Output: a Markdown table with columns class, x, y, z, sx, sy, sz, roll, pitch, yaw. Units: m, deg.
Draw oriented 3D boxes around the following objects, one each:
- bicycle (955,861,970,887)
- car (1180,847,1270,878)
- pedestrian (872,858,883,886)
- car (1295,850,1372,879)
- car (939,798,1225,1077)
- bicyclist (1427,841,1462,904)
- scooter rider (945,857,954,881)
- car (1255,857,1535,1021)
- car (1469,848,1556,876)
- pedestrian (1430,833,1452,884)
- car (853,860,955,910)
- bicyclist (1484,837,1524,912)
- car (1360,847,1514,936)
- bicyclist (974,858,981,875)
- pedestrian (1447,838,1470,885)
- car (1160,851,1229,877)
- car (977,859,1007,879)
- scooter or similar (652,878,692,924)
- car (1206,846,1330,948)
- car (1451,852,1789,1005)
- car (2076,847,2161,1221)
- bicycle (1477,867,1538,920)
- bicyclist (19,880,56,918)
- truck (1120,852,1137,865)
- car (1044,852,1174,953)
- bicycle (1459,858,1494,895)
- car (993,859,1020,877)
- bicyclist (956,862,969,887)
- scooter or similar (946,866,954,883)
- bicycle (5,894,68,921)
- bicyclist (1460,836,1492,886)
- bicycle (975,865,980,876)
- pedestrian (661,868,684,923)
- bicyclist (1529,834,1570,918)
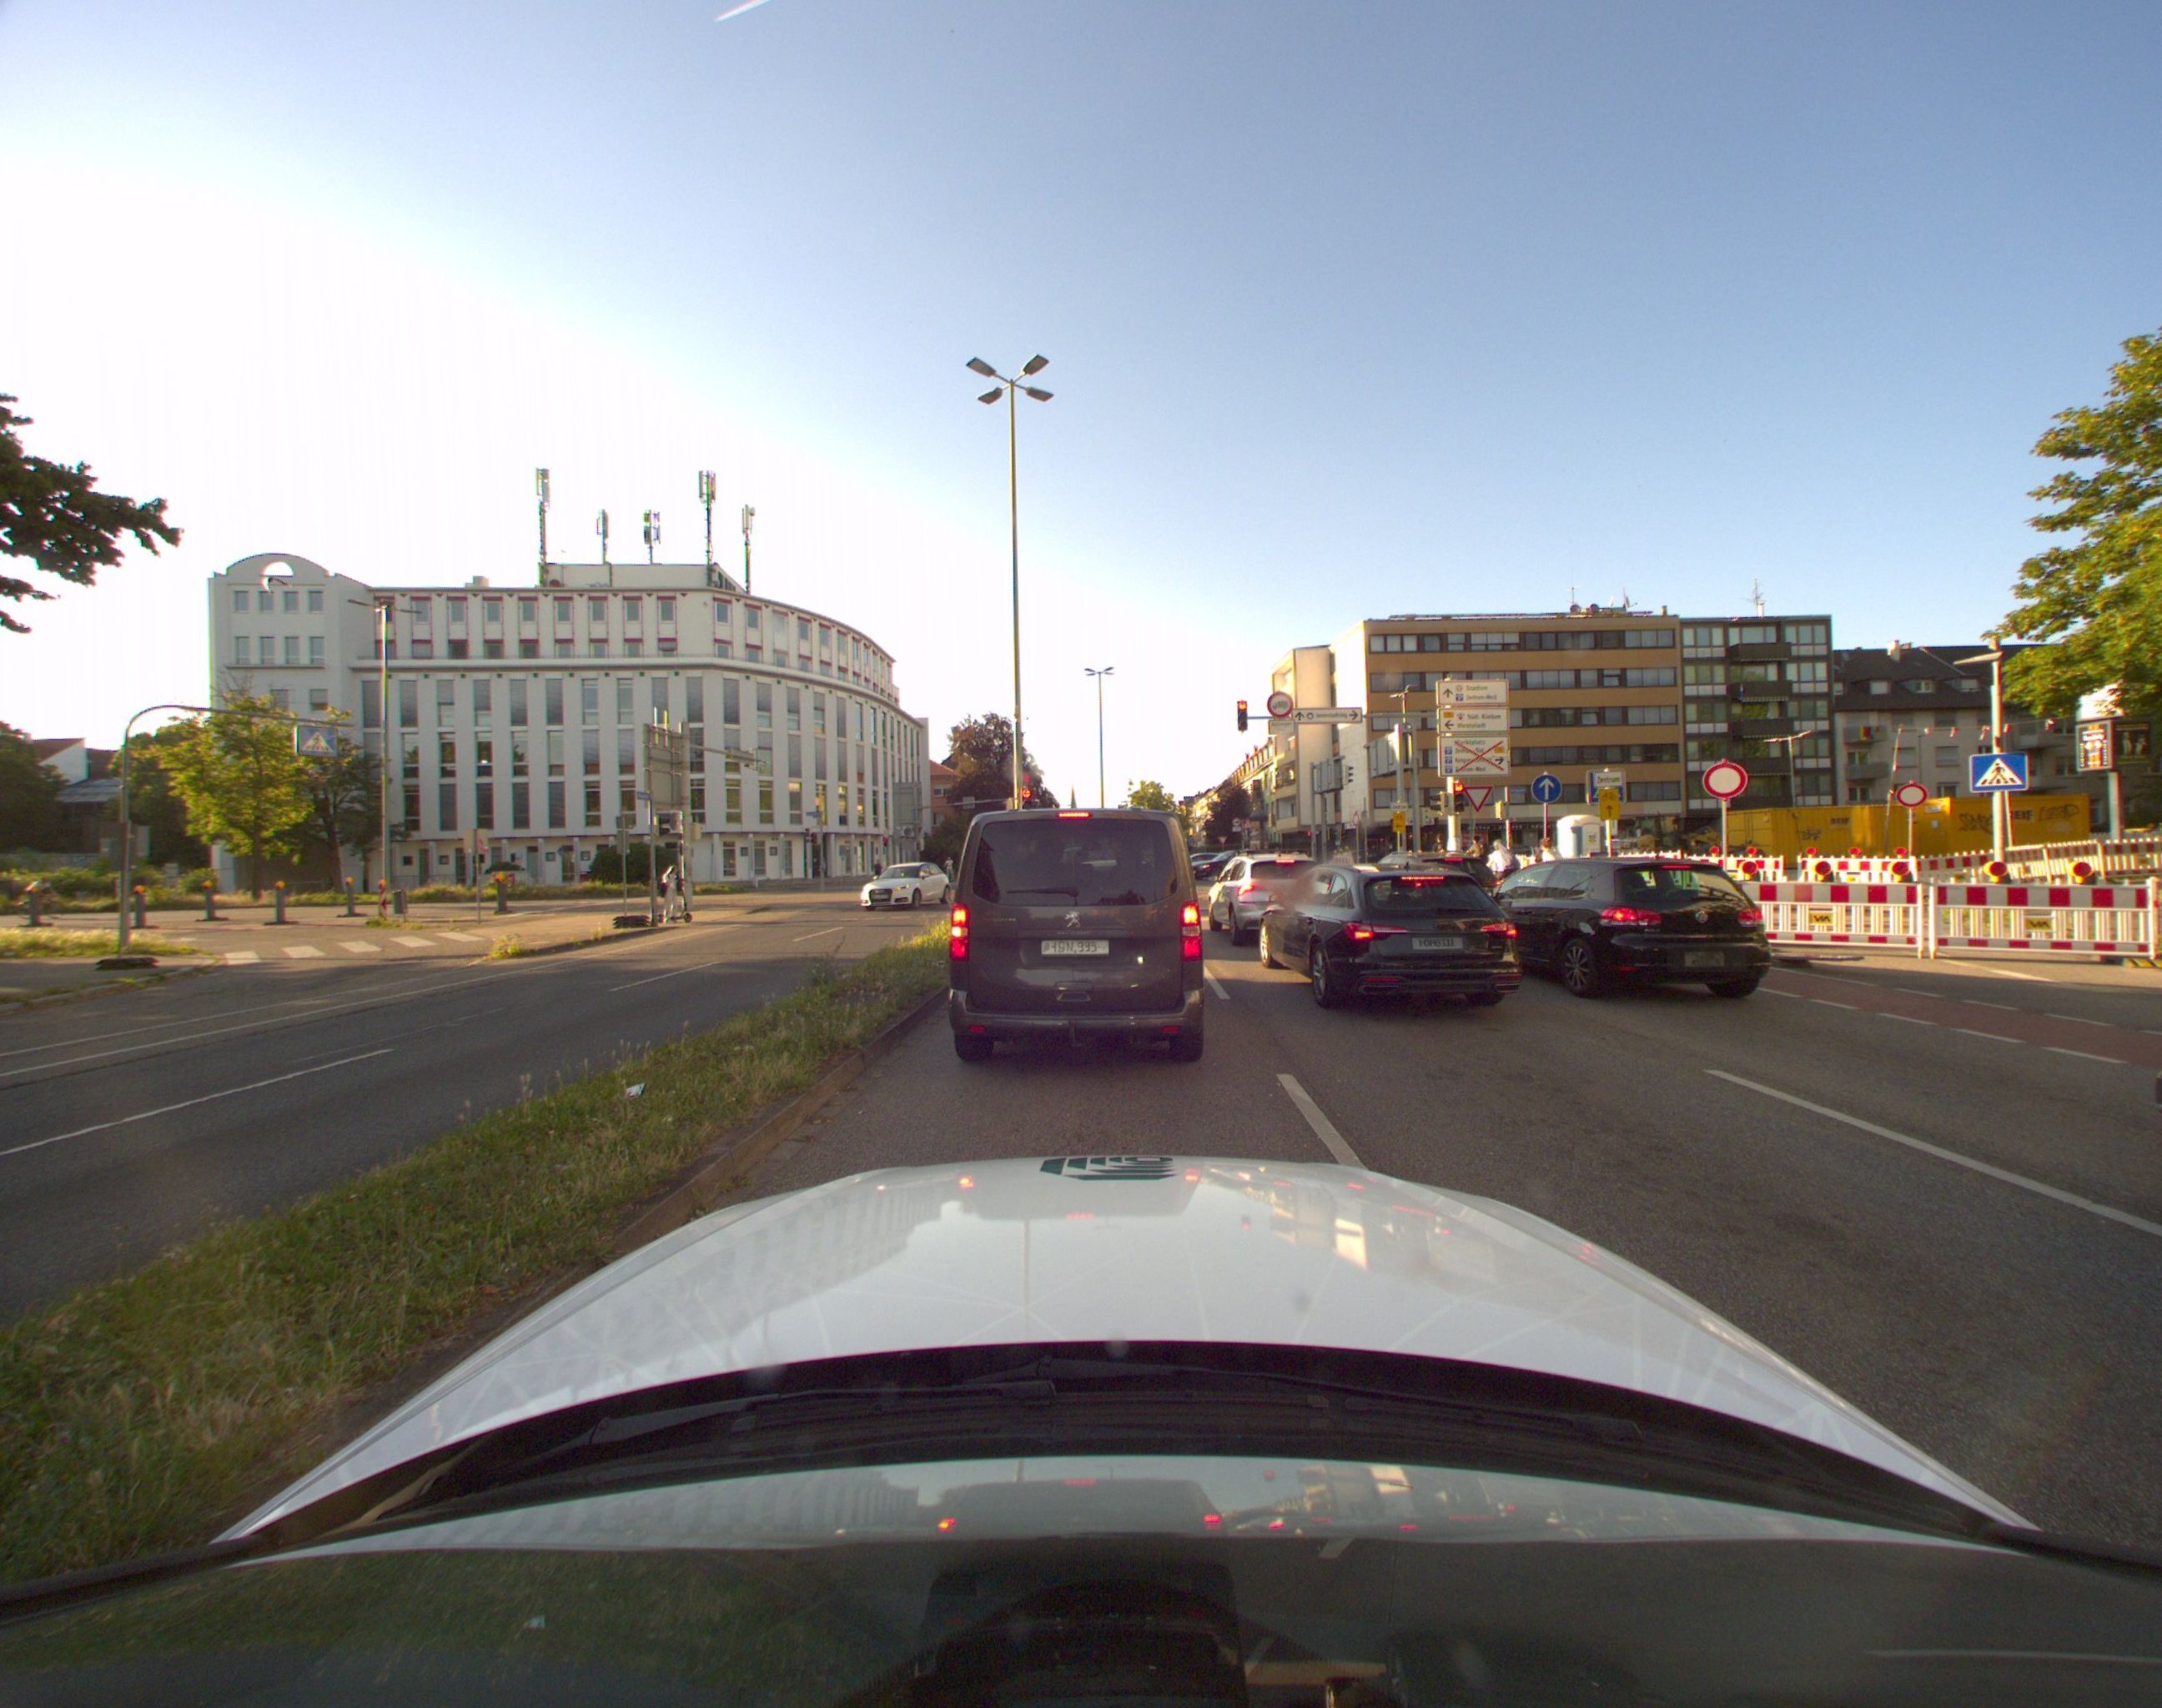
| class | x | y | z | sx | sy | sz | roll | pitch | yaw |
| --- | --- | --- | --- | --- | --- | --- | --- | --- | --- |
| bicycle | -9.648 | 1.630 | 66.503 | 0.712 | 2.013 | 2.564 | -2 | 0 | 2 |
| car | 7.395 | 0.422 | 41.909 | 4.241 | 1.441 | 1.692 | -2 | 0 | -19 |
| pedestrian | -12.818 | 1.154 | 51.369 | 0.626 | 1.722 | 0.668 | -2 | 0 | -12 |
| car | 15.328 | 0.619 | 49.587 | 4.109 | 1.594 | 1.793 | -2 | -1 | -4 |
| car | 0.074 | 0.561 | 7.706 | 1.900 | 1.863 | 4.528 | 0 | 0 | 2 |
| bicyclist | 8.980 | 0.455 | 20.123 | 0.511 | 1.525 | 0.725 | -2 | 0 | 1 |
| scooter rider | -9.465 | 1.107 | 58.713 | 0.479 | 1.697 | 0.636 | -2 | 0 | 1 |
| car | 3.204 | 0.757 | 9.265 | 1.675 | 1.421 | 4.215 | 0 | 0 | 2 |
| car | 24.255 | 0.432 | 45.840 | 3.971 | 1.418 | 1.683 | -2 | 0 | 2 |
| pedestrian | 13.140 | 0.170 | 29.718 | 0.567 | 1.834 | 0.488 | -2 | 0 | 4 |
| car | -5.602 | 0.948 | 26.171 | 1.679 | 1.387 | 3.700 | -3 | 0 | 14 |
| bicyclist | 8.914 | 0.421 | 17.187 | 0.439 | 1.525 | 0.725 | -2 | 0 | 2 |
| car | 6.542 | 0.636 | 15.317 | 1.499 | 1.449 | 3.306 | -2 | 0 | 2 |
| bicyclist | -9.251 | 1.098 | 72.861 | 0.461 | 1.522 | 0.469 | -2 | 0 | 1 |
| pedestrian | 13.862 | 0.271 | 29.890 | 0.599 | 1.671 | 0.455 | -2 | 0 | 3 |
| car | 6.675 | 0.576 | 48.146 | 3.775 | 1.372 | 1.648 | -2 | 0 | -4 |
| car | -6.817 | 1.126 | 62.791 | 1.850 | 1.420 | 4.000 | -2 | 0 | 0 |
| scooter or similar | -11.468 | 1.308 | 22.856 | 0.893 | 1.234 | 0.370 | -2 | 0 | -10 |
| car | 3.281 | 0.691 | 14.910 | 1.523 | 1.613 | 3.746 | 0 | 0 | 2 |
| car | 5.998 | 0.715 | 9.656 | 1.627 | 1.449 | 3.746 | 0 | 0 | 2 |
| car | 5.119 | 0.687 | 1.113 | 1.809 | 1.449 | 4.665 | -1 | 0 | -1 |
| bicycle | 8.915 | 0.806 | 17.102 | 0.335 | 1.008 | 1.856 | -2 | 0 | 2 |
| bicyclist | -43.233 | 1.862 | 33.741 | 0.884 | 1.496 | 0.457 | -2 | 0 | -5 |
| truck | 8.080 | 0.793 | 138.448 | 2.114 | 2.087 | 4.646 | -2 | 0 | 12 |
| car | 0.505 | 0.761 | 14.736 | 1.986 | 1.530 | 4.002 | -2 | 0 | 2 |
| bicycle | 12.787 | 0.709 | 26.367 | 0.371 | 1.161 | 1.499 | 0 | 1 | -2 |
| car | -6.246 | 1.128 | 68.349 | 1.850 | 1.420 | 4.000 | -2 | 0 | 0 |
| bicyclist | -9.647 | 1.653 | 66.498 | 0.830 | 2.014 | 1.065 | 0 | -1 | 3 |
| scooter or similar | -9.459 | 1.460 | 58.797 | 0.284 | 1.189 | 1.169 | -2 | 0 | 2 |
| bicycle | -43.261 | 2.221 | 33.741 | 1.795 | 1.042 | 0.502 | -2 | 0 | -5 |
| bicyclist | 12.805 | 0.221 | 26.421 | 0.616 | 1.589 | 0.813 | 0 | 0 | -3 |
| bicycle | -9.230 | 1.485 | 72.840 | 0.289 | 0.949 | 1.073 | -2 | 0 | 2 |
| pedestrian | -11.537 | 1.171 | 23.003 | 0.474 | 1.505 | 0.334 | -2 | 0 | -10 |
| bicyclist | 8.646 | 0.397 | 15.034 | 0.439 | 1.525 | 0.482 | -2 | 0 | 1 |
